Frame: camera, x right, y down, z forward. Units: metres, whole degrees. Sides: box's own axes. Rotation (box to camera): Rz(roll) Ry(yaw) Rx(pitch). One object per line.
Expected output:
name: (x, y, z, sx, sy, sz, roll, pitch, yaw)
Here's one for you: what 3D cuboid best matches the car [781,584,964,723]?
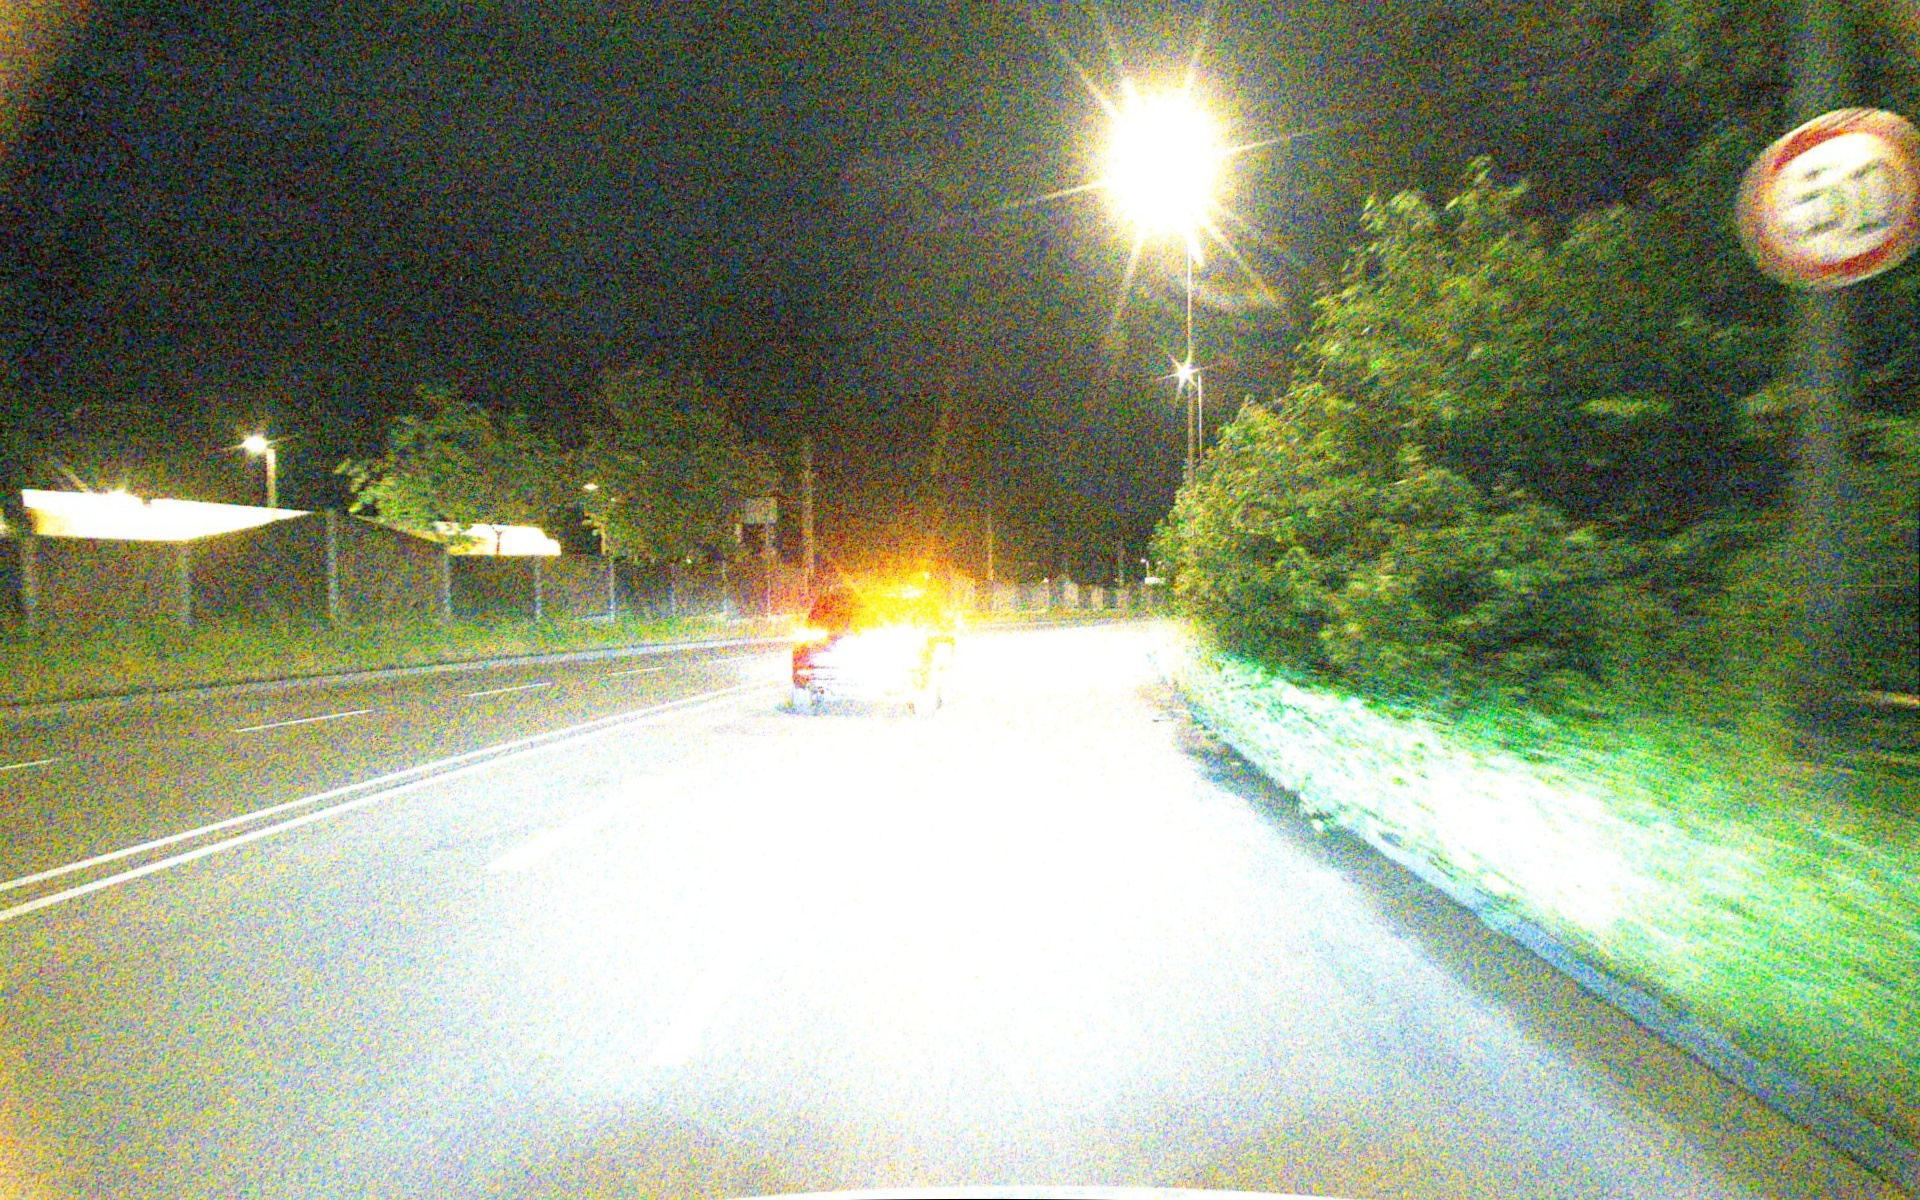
car: (-1.040, 0.628, 21.603, 1.776, 1.601, 3.946, 1, 0, 5)
